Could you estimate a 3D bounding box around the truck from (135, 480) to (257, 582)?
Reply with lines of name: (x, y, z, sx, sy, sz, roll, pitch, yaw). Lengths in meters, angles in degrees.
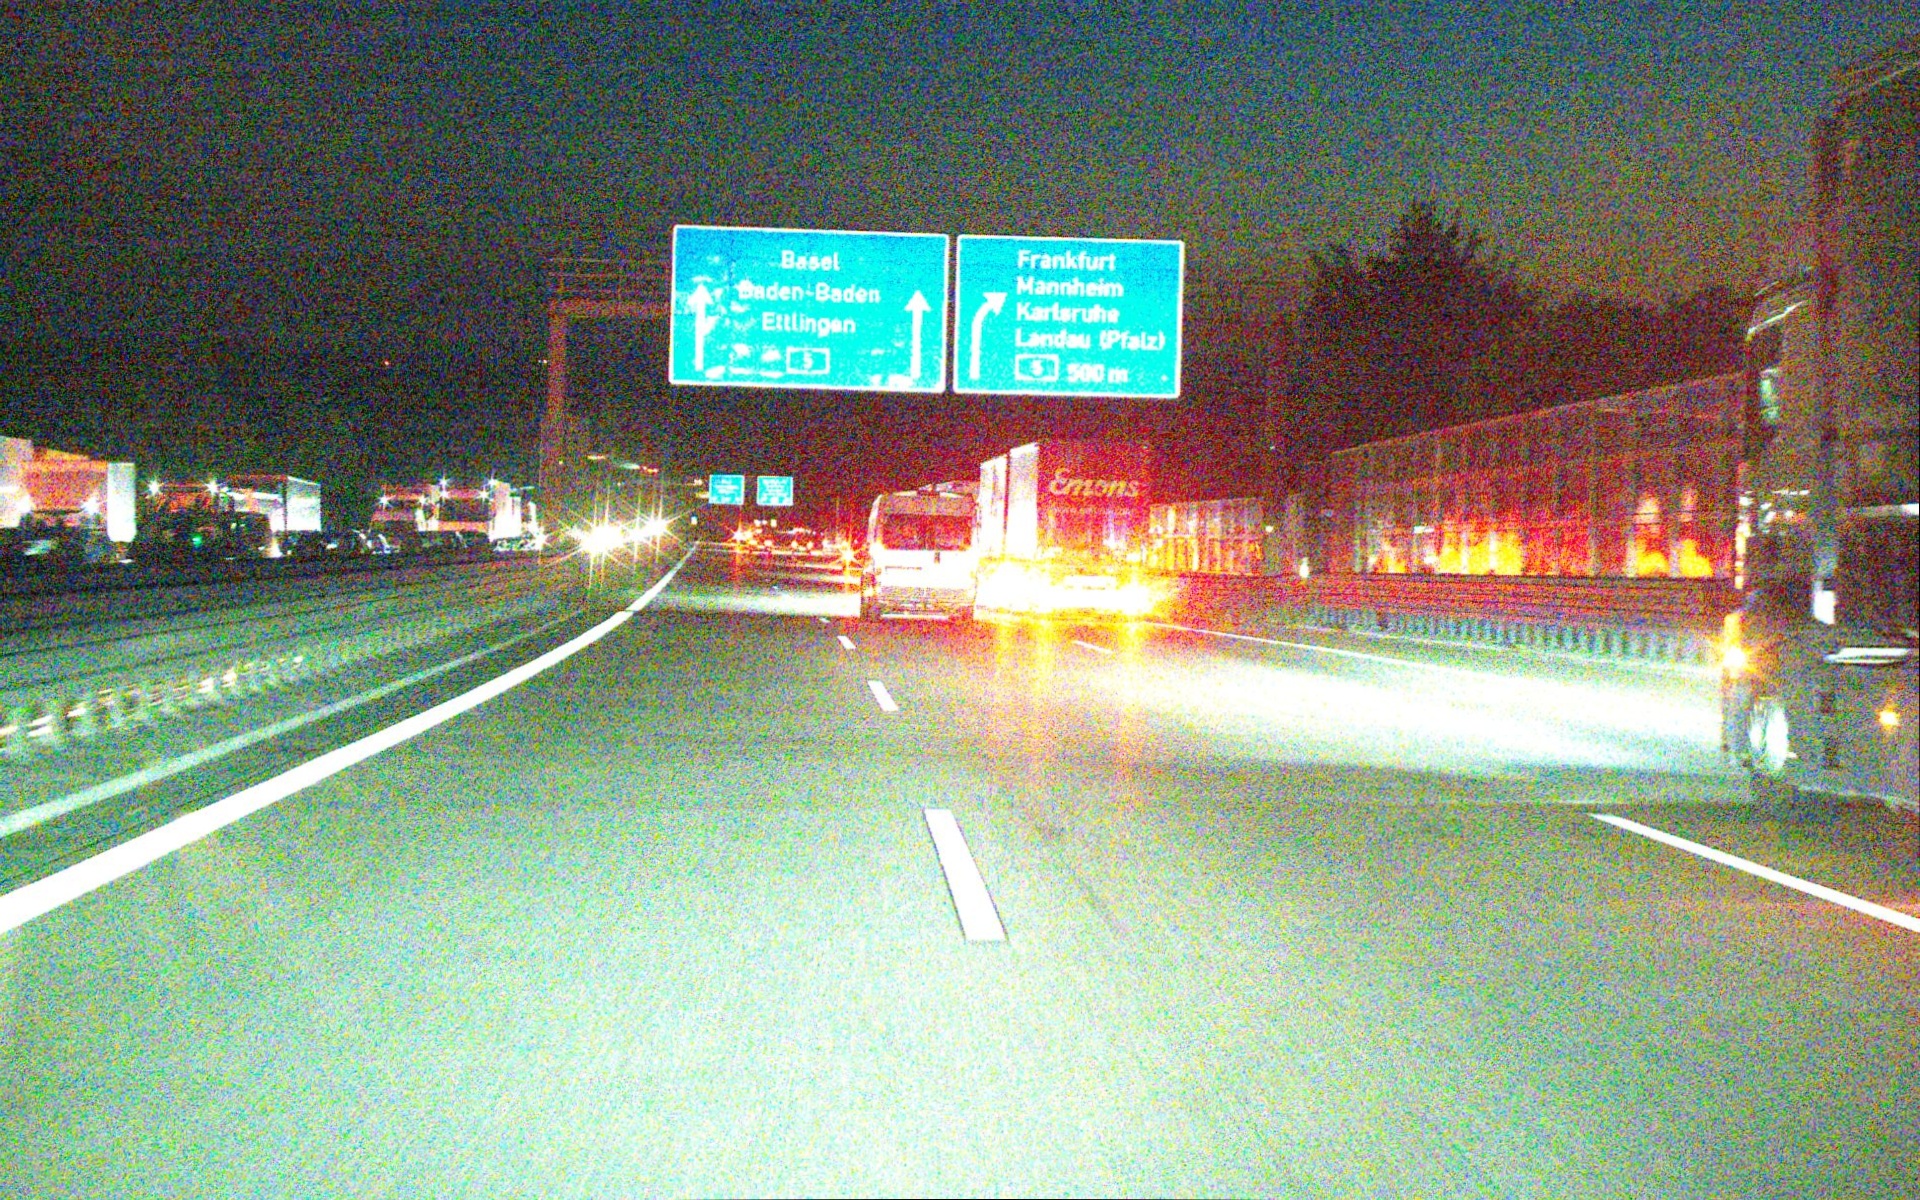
truck: (-23.642, -2.075, 106.680, 2.555, 2.975, 7.454, 1, 0, -4)

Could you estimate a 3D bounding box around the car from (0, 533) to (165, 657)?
car: (-11.336, -0.097, 43.268, 1.658, 1.466, 4.000, 1, 1, 1)

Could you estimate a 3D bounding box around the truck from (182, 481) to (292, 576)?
truck: (-24.158, -2.338, 115.177, 2.555, 2.975, 7.454, 1, 0, -4)

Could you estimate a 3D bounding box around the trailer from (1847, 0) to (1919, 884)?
trailer: (6.060, -0.637, 10.260, 2.854, 4.053, 13.207, 0, 1, -3)

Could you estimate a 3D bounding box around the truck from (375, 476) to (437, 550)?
truck: (-28.927, -4.551, 179.823, 2.873, 3.661, 6.052, 3, 1, -8)

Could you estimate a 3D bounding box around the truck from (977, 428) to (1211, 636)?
truck: (3.041, -1.682, 87.135, 3.914, 4.611, 21.021, 0, 1, -3)

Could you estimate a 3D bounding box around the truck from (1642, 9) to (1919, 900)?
truck: (5.742, -0.692, 17.173, 2.861, 4.063, 7.511, 0, 1, -3)

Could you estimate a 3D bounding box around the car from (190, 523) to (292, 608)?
car: (-18.358, -0.868, 87.952, 1.993, 2.007, 4.001, 3, 0, -5)

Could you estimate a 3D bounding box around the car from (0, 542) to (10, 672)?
car: (-10.785, 0.085, 34.144, 1.570, 1.349, 4.000, 1, 1, 0)

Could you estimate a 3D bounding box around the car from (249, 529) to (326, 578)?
car: (-19.149, -1.333, 97.985, 1.570, 1.349, 4.001, 1, 1, -3)

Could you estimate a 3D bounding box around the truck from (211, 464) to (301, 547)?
truck: (-30.941, -4.127, 151.344, 2.959, 3.430, 6.363, 3, 1, -4)

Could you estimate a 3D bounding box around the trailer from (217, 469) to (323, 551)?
trailer: (-31.366, -4.038, 156.829, 2.959, 3.430, 13.439, 3, 1, -4)

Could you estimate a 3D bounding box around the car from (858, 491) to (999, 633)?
car: (-0.560, -0.726, 66.989, 2.337, 2.631, 5.247, 1, 0, 4)

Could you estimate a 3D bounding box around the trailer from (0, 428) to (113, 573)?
trailer: (-25.682, -2.637, 93.606, 2.882, 3.663, 13.134, 1, 1, -4)

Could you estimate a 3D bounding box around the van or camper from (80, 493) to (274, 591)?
van or camper: (-11.562, -0.858, 51.099, 1.820, 1.349, 5.352, 1, 1, -2)

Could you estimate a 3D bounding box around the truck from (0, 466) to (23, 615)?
truck: (-24.951, -1.477, 83.450, 2.882, 3.663, 7.265, 1, 1, -4)

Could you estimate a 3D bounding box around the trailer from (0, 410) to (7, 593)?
trailer: (-19.874, -1.936, 62.853, 2.393, 3.615, 11.182, 2, 0, -4)

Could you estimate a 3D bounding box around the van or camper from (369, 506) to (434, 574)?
van or camper: (-22.478, -2.413, 138.606, 2.083, 2.623, 7.606, 1, 1, -6)

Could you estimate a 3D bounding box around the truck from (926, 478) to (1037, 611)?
truck: (0.683, -2.058, 126.190, 3.344, 4.460, 13.911, 3, 1, -2)

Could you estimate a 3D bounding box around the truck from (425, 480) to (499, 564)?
truck: (-23.703, -3.679, 163.988, 2.874, 3.661, 6.781, 3, 0, -5)

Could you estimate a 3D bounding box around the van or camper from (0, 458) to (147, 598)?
van or camper: (-21.916, -1.750, 84.728, 2.432, 3.261, 7.395, 1, 1, -4)

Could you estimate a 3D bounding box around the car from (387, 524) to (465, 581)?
car: (-13.362, -1.193, 86.191, 1.570, 1.349, 4.001, 1, 1, -4)
